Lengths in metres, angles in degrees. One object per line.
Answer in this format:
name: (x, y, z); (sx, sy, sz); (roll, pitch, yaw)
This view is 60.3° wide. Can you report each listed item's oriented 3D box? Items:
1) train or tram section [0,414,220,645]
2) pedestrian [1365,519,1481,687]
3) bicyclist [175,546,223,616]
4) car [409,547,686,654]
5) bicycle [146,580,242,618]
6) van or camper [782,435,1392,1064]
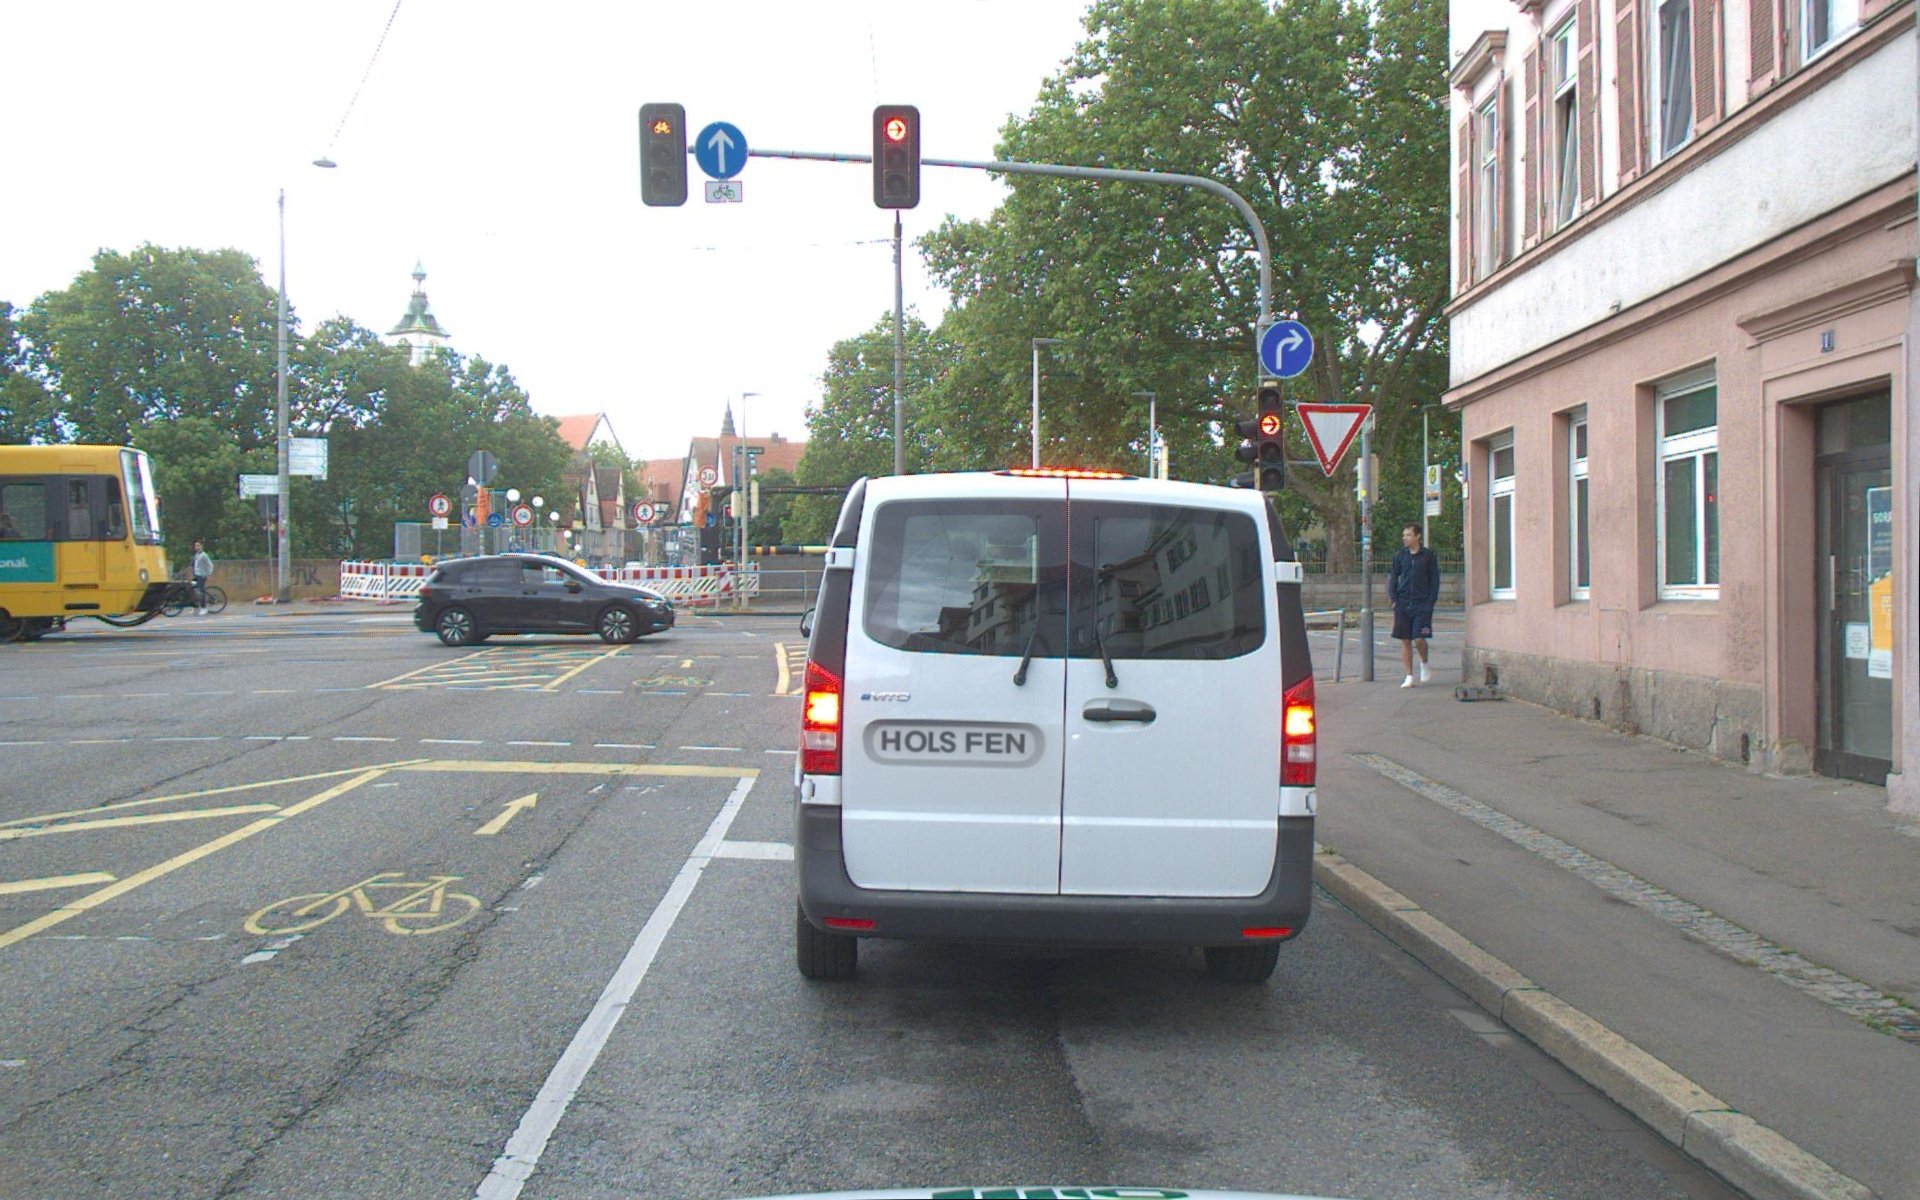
train or tram section: (-23.423, -1.125, 29.188); (18.456, 4.072, 3.254); (-2, 3, -15)
pedestrian: (5.386, 0.018, 19.254); (1.138, 1.888, 0.672); (-2, 1, -30)
bicyclist: (-19.628, -0.491, 42.664); (0.995, 1.774, 0.744); (0, 1, -40)
car: (-6.778, -0.026, 27.570); (4.189, 1.602, 1.870); (-1, 2, -5)
bicycle: (-19.716, -0.039, 42.598); (2.118, 0.907, 0.749); (-1, 2, -41)
van or camper: (0.264, 0.404, 7.421); (1.899, 1.958, 4.438); (1, 2, -4)
